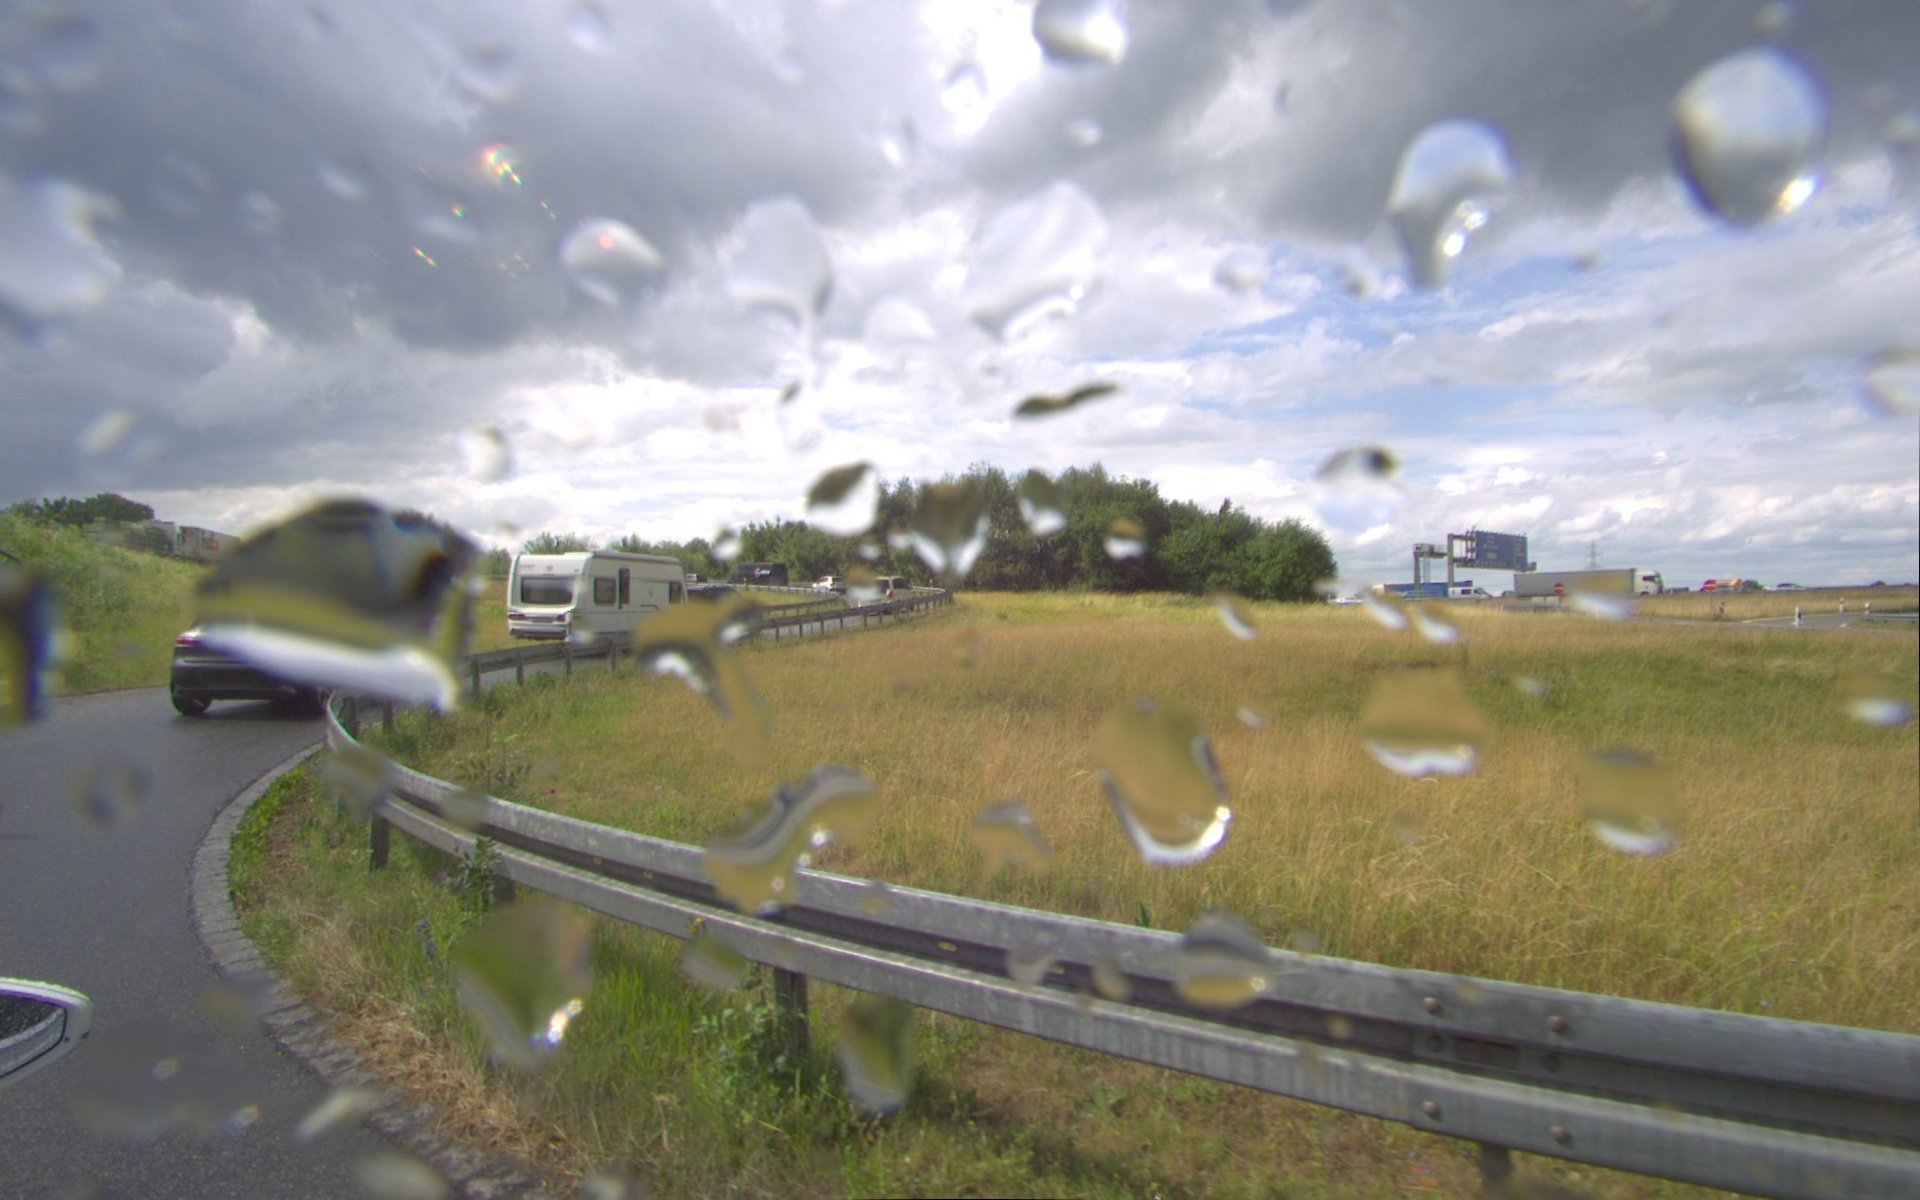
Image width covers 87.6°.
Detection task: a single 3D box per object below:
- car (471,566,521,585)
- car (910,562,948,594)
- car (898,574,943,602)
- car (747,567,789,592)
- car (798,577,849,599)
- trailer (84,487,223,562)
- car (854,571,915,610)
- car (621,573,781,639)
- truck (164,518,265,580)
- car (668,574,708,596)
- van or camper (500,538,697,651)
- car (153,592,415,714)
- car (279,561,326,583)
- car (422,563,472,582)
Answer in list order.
[{"bbox_3d":[-49.624,-2.586,107.087,4.423,1.886,2.000,-1,0,0],"label":"car"},{"bbox_3d":[-1.899,-1.340,63.152,1.961,1.886,5.057,-1,0,3],"label":"car"},{"bbox_3d":[-2.846,-0.812,71.334,1.965,1.886,5.047,-1,0,-17],"label":"car"},{"bbox_3d":[-17.739,-1.872,92.589,1.982,2.039,3.960,2,-3,-45],"label":"car"},{"bbox_3d":[-11.657,-1.012,85.227,1.649,1.808,5.009,-1,0,-43],"label":"car"},{"bbox_3d":[-67.390,-5.995,84.555,4.358,4.005,20.150,1,-2,-25],"label":"trailer"},{"bbox_3d":[-3.774,-0.450,51.113,1.962,1.886,5.054,-1,0,10],"label":"car"},{"bbox_3d":[-8.384,0.193,33.163,2.393,1.951,5.750,1,0,19],"label":"car"},{"bbox_3d":[-75.558,-4.933,102.165,4.405,4.560,19.310,1,-2,-25],"label":"truck"},{"bbox_3d":[-27.077,-1.495,99.621,3.953,2.040,1.984,-1,0,40],"label":"car"},{"bbox_3d":[-9.760,-0.176,27.771,2.392,2.766,5.996,1,1,11],"label":"van or camper"},{"bbox_3d":[-9.741,0.705,14.846,1.691,1.545,3.997,1,-1,-10],"label":"car"},{"bbox_3d":[-68.783,-2.884,104.809,3.944,2.039,1.817,1,-2,-31],"label":"car"},{"bbox_3d":[-56.675,-3.003,110.635,4.966,1.886,1.997,-1,0,17],"label":"car"}]
